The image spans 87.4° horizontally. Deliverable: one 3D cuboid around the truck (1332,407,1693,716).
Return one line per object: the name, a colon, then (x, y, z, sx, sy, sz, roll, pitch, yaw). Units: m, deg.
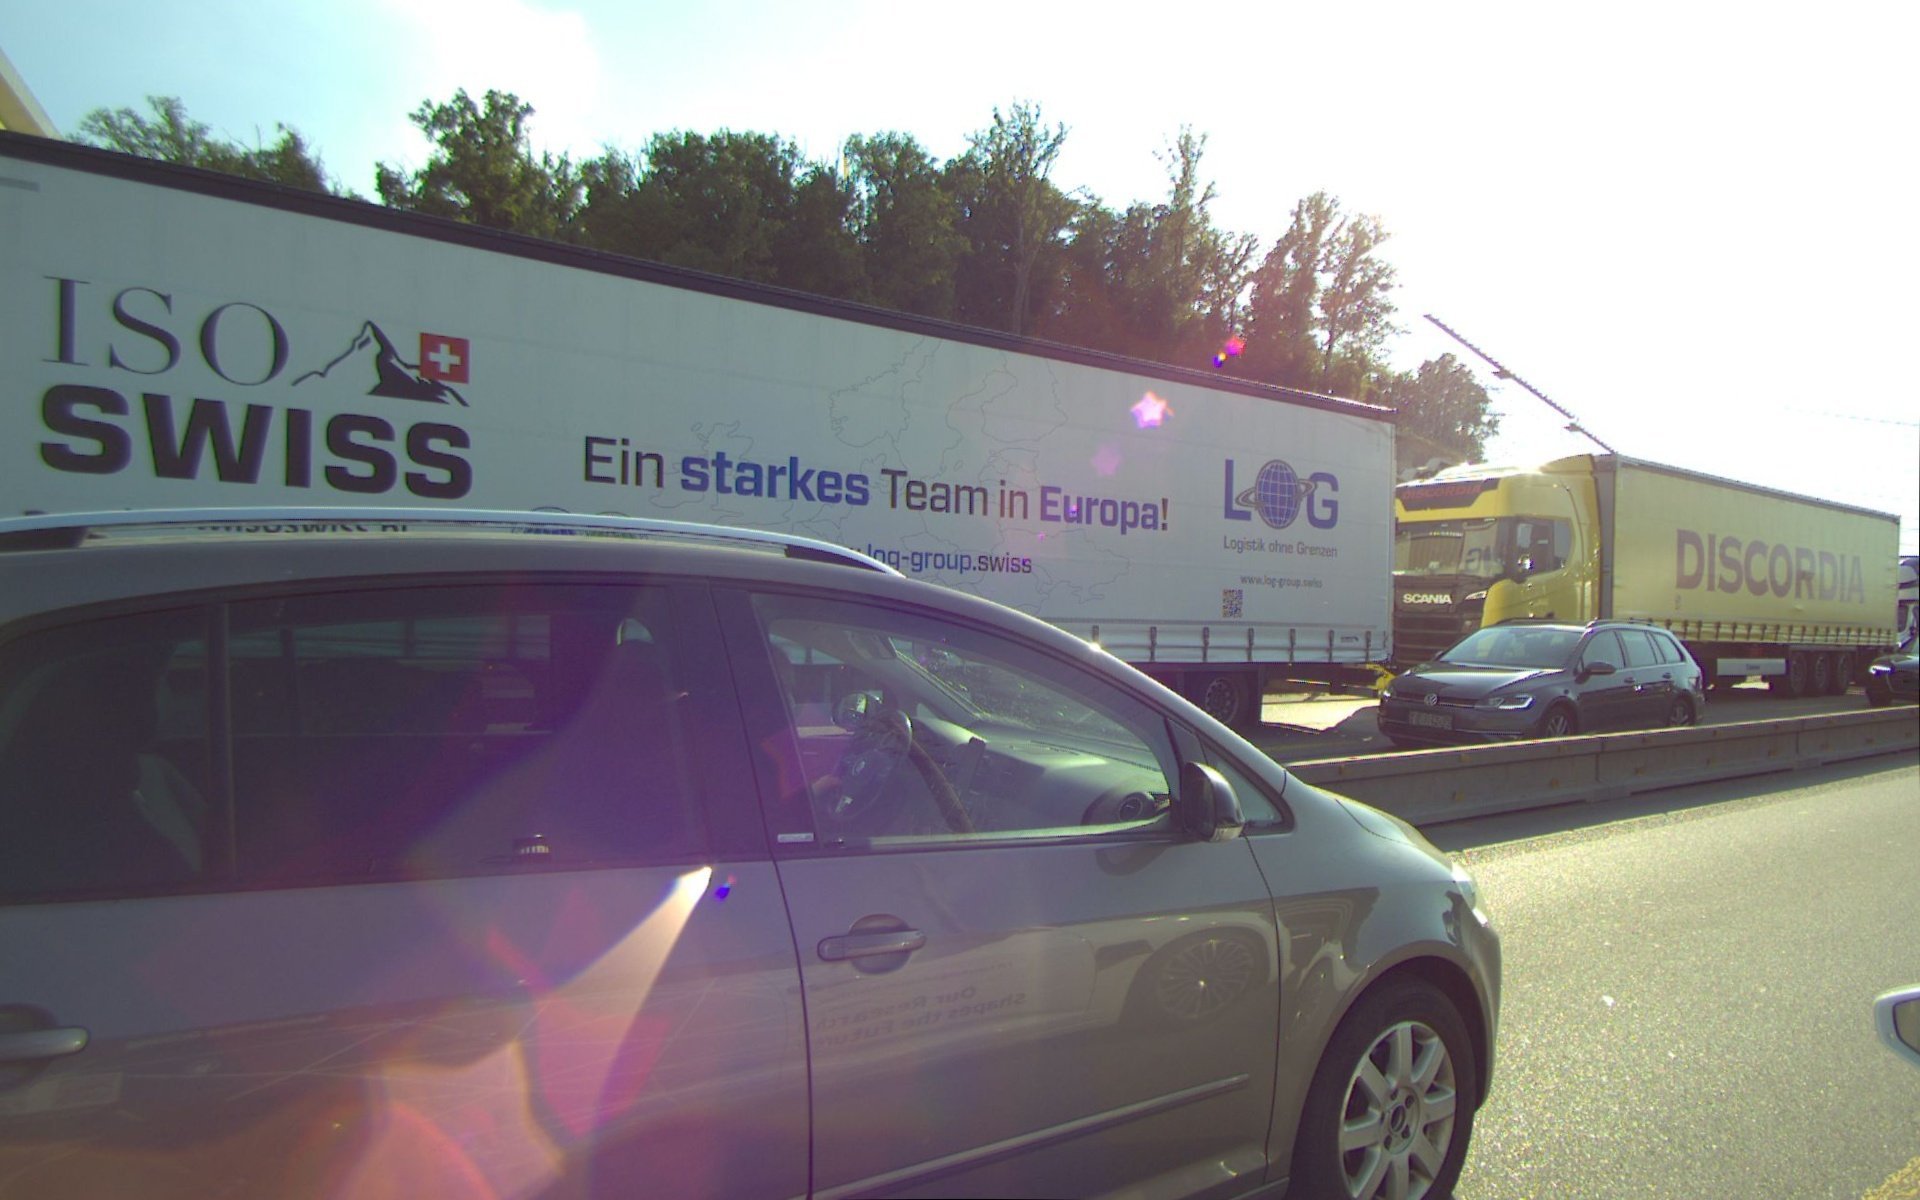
truck: (9.303, -0.399, 16.798, 5.709, 4.327, 2.878, 3, -2, -32)

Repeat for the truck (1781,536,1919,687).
truck: (25.044, 0.455, 26.935, 7.612, 3.577, 2.346, 3, -2, -32)

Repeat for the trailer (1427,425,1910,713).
trailer: (15.110, -0.146, 20.512, 14.224, 4.451, 2.877, 3, -2, -33)

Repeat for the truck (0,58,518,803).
truck: (-6.546, -0.995, 6.673, 6.249, 4.327, 2.432, 3, -2, -31)

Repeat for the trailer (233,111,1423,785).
trailer: (0.002, -0.703, 10.555, 12.006, 4.321, 2.441, 3, -2, -31)

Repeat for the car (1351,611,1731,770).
car: (6.583, 0.949, 11.238, 4.483, 1.468, 1.745, 3, -2, -31)

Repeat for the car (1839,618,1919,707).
car: (18.728, 1.199, 18.894, 4.672, 1.550, 1.984, 3, -2, -31)

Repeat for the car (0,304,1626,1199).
car: (-0.417, 0.569, 2.327, 4.100, 1.608, 1.692, 3, -2, -31)
